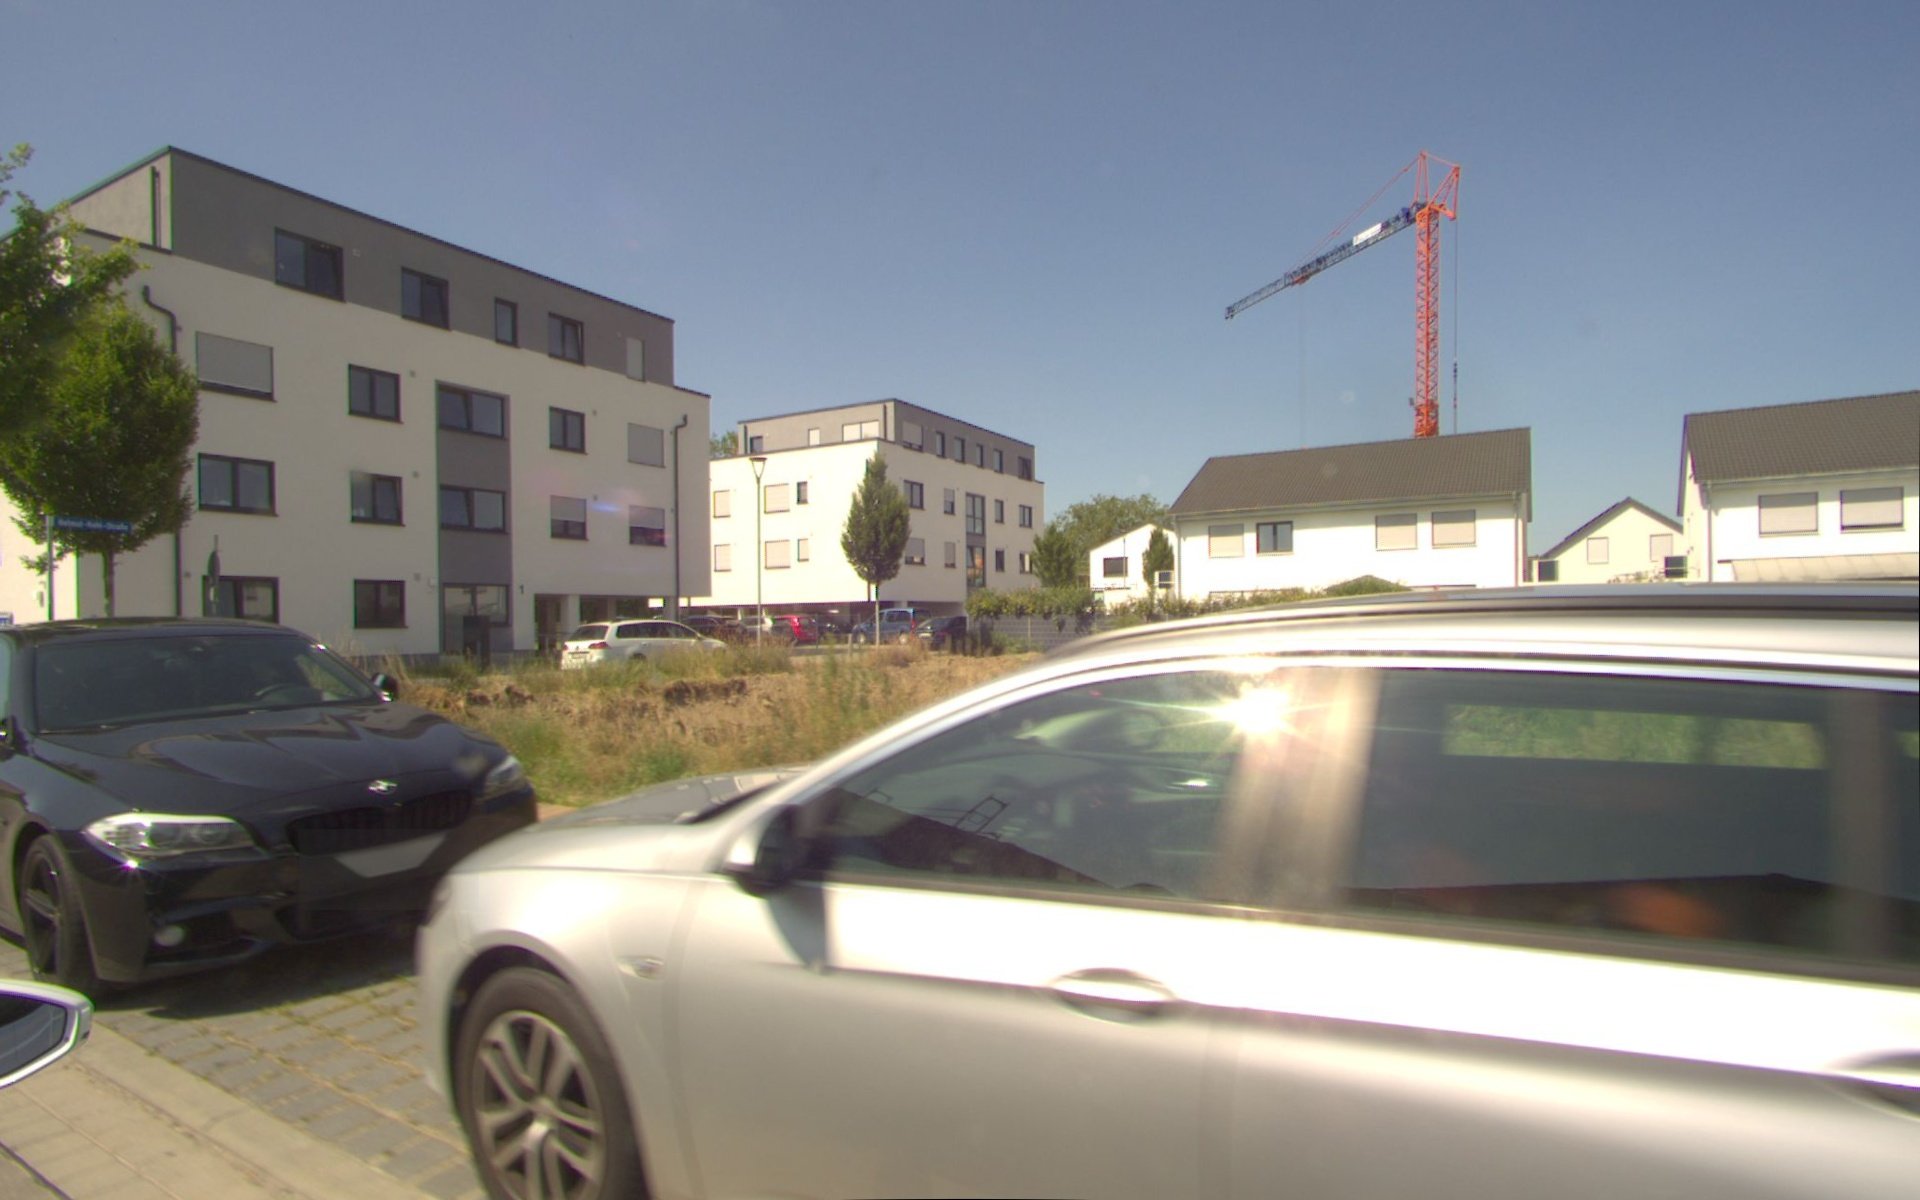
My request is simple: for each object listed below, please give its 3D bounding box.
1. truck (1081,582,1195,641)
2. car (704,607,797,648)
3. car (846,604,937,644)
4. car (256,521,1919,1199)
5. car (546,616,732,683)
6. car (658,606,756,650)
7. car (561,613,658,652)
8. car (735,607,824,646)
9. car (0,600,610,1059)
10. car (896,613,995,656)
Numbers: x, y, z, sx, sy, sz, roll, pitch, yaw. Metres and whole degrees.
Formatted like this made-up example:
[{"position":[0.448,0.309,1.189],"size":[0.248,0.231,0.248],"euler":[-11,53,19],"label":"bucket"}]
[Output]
[{"position":[11.091,0.711,62.142],"size":[6.863,3.434,2.291],"euler":[-1,-2,-27],"label":"truck"},{"position":[-9.888,1.294,47.254],"size":[4.112,1.833,1.873],"euler":[-2,-1,31],"label":"car"},{"position":[-3.359,1.160,48.764],"size":[4.116,1.833,1.871],"euler":[-2,-1,35],"label":"car"},{"position":[0.699,0.680,2.305],"size":[5.218,1.531,1.914],"euler":[0,1,32],"label":"car"},{"position":[-7.698,1.146,24.387],"size":[1.855,1.454,4.153],"euler":[-2,-1,30],"label":"car"},{"position":[-11.305,1.269,44.712],"size":[4.112,1.833,1.873],"euler":[-2,-1,31],"label":"car"},{"position":[-14.325,1.339,40.909],"size":[3.626,1.522,1.873],"euler":[-2,-1,31],"label":"car"},{"position":[-8.986,1.313,49.771],"size":[4.112,1.833,1.873],"euler":[-2,-1,31],"label":"car"},{"position":[-4.340,0.766,5.491],"size":[5.068,1.489,1.913],"euler":[0,1,34],"label":"car"},{"position":[-0.472,1.261,37.293],"size":[1.855,1.497,4.153],"euler":[-2,-1,30],"label":"car"}]
